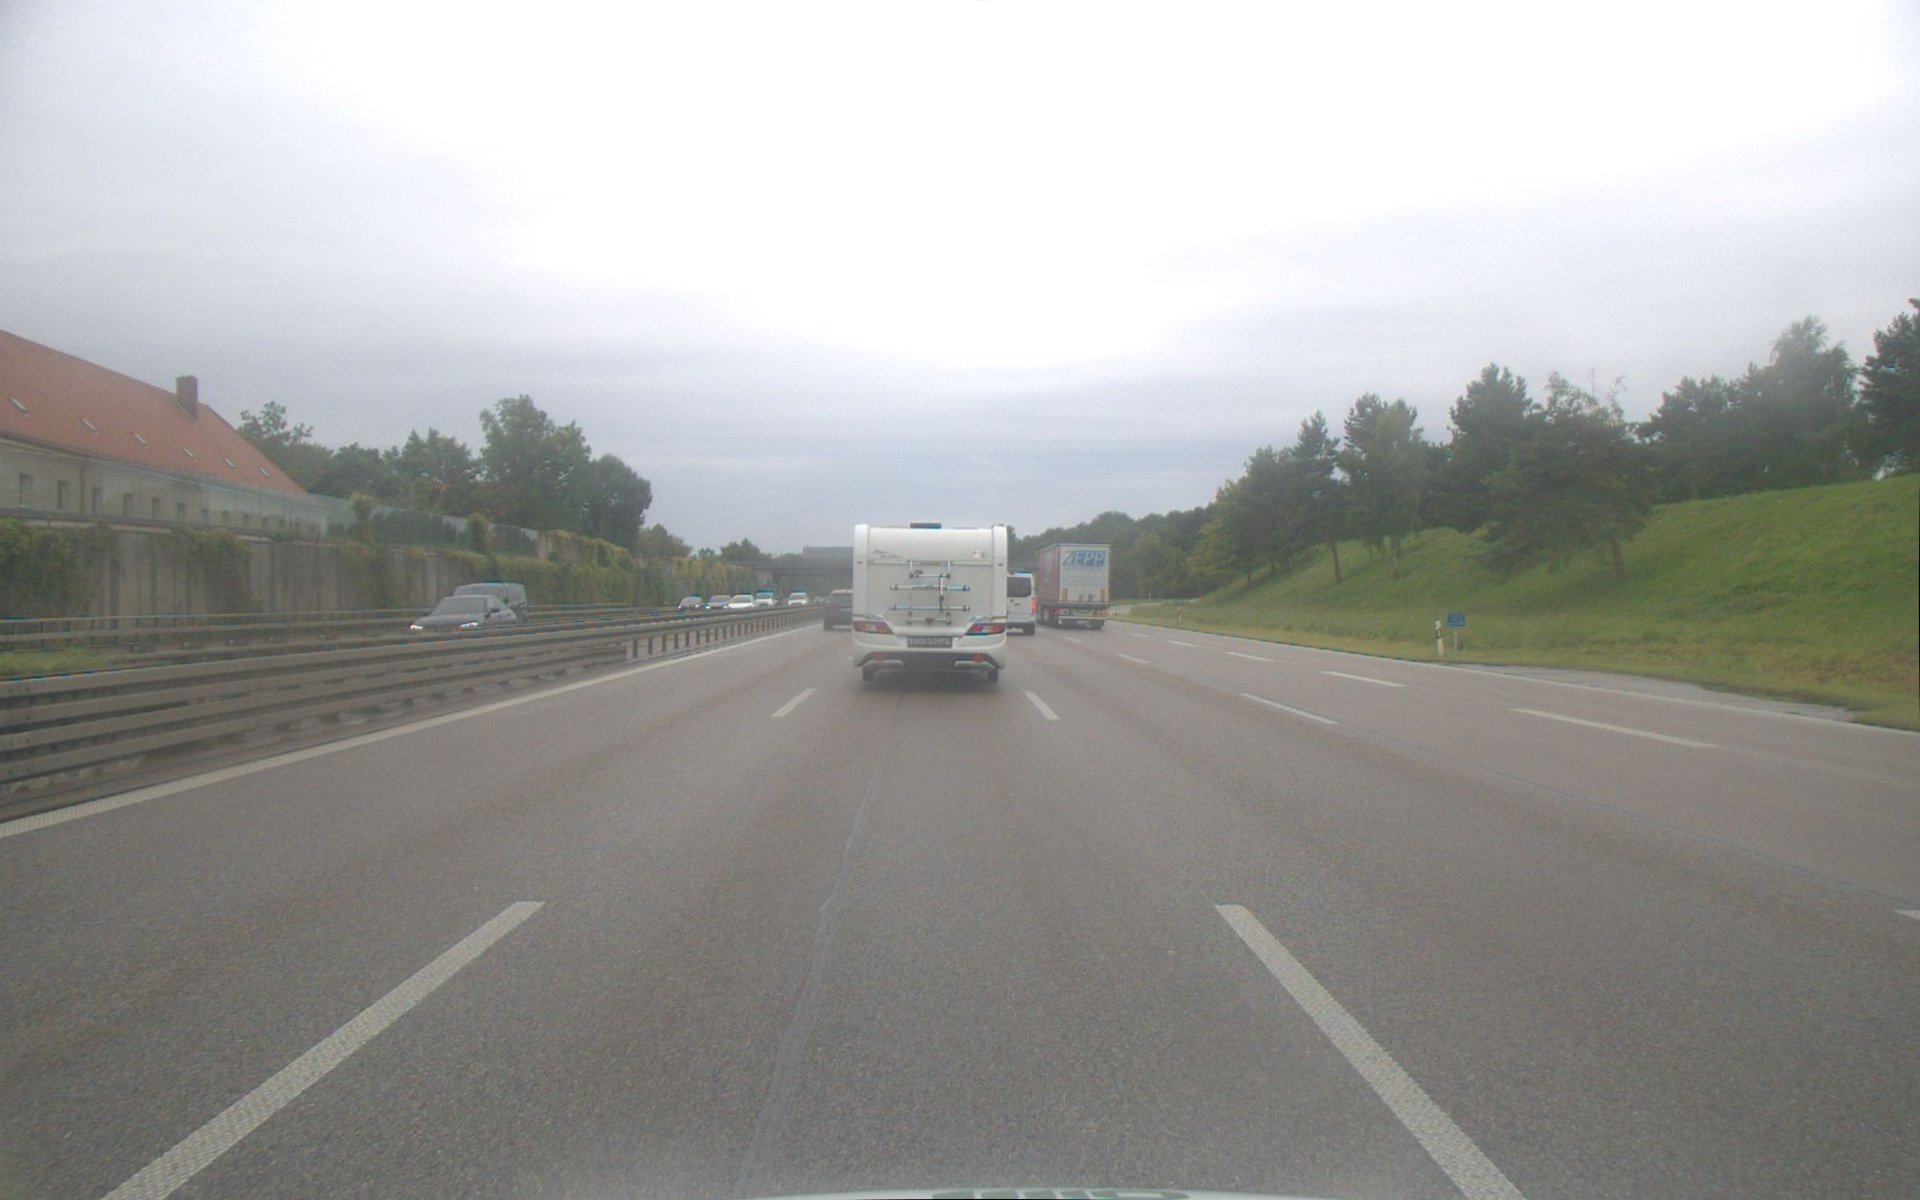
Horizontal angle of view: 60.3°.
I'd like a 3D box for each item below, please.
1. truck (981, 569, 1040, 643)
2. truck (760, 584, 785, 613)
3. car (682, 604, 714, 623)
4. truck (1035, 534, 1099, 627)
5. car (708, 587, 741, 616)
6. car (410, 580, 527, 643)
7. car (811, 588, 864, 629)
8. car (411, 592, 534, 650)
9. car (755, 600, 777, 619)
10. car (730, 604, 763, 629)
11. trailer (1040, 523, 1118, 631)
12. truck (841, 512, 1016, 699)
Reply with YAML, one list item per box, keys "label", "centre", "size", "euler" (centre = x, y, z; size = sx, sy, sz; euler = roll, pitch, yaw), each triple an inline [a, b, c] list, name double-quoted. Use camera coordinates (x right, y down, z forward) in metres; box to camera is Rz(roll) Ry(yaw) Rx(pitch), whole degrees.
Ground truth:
- label: "truck"
  centre: [1.986, 0.257, 66.912]
  size: [2.012, 2.818, 5.547]
  euler: [1, 0, -1]
- label: "truck"
  centre: [-25.627, -0.222, 226.665]
  size: [2.637, 3.843, 8.333]
  euler: [1, 0, -2]
- label: "car"
  centre: [-21.926, 1.115, 138.692]
  size: [1.915, 1.579, 4.521]
  euler: [1, 0, 0]
- label: "truck"
  centre: [5.871, -1.032, 91.194]
  size: [2.986, 4.924, 5.849]
  euler: [1, 0, -1]
- label: "car"
  centre: [-17.204, 0.109, 120.865]
  size: [1.894, 2.049, 4.730]
  euler: [1, 0, -2]
- label: "car"
  centre: [-16.655, 0.379, 56.466]
  size: [2.164, 2.006, 6.269]
  euler: [1, 0, -1]
- label: "car"
  centre: [-5.104, 0.355, 69.653]
  size: [1.953, 1.628, 5.122]
  euler: [1, 0, -1]
- label: "car"
  centre: [-12.597, 0.532, 43.002]
  size: [1.953, 1.379, 4.223]
  euler: [1, 0, -1]
- label: "car"
  centre: [-21.861, 1.095, 186.556]
  size: [1.953, 2.049, 4.955]
  euler: [1, 0, -1]
- label: "car"
  centre: [-13.694, 1.024, 106.257]
  size: [1.569, 1.431, 4.763]
  euler: [-4, 0, -1]
- label: "trailer"
  centre: [5.866, -1.076, 83.508]
  size: [3.036, 5.008, 11.789]
  euler: [1, 0, 0]
- label: "truck"
  centre: [-0.539, 0.090, 27.705]
  size: [2.607, 2.790, 5.076]
  euler: [1, 0, -1]
